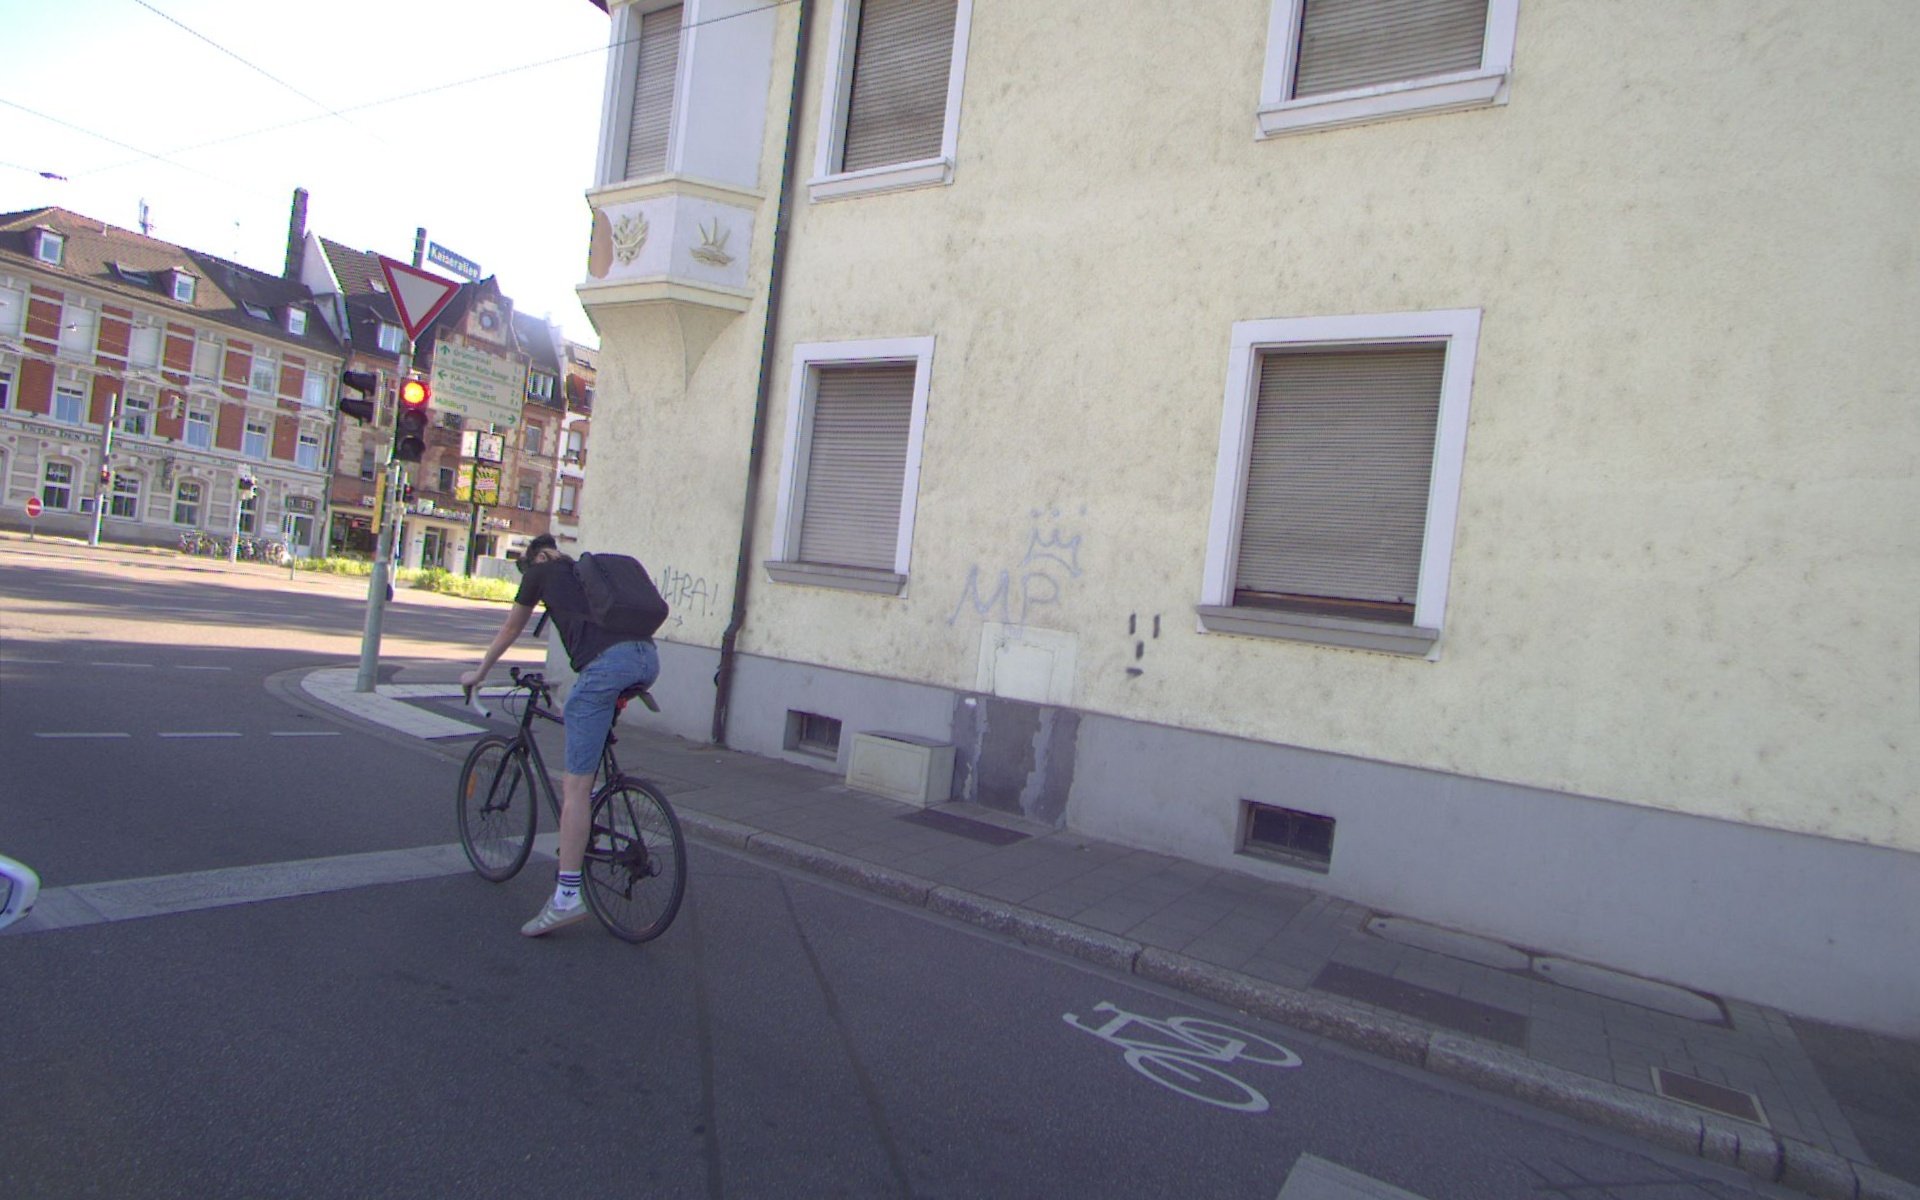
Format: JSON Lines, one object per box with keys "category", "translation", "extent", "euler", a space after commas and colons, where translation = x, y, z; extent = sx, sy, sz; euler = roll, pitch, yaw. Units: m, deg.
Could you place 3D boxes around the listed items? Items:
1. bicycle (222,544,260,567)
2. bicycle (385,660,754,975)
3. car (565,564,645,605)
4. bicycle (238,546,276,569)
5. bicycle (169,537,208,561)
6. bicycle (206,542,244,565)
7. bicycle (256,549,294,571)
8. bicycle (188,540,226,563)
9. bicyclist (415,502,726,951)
{"category": "bicycle", "translation": [-33.844, -2.089, 47.357], "extent": [2.125, 0.850, 0.659], "euler": [6, -2, 33]}
{"category": "bicycle", "translation": [-1.792, 0.876, 4.499], "extent": [1.721, 0.982, 0.519], "euler": [7, 0, 32]}
{"category": "car", "translation": [-23.010, -0.999, 65.318], "extent": [1.968, 2.038, 4.430], "euler": [7, -1, 34]}
{"category": "bicycle", "translation": [-33.489, -2.021, 47.887], "extent": [2.125, 0.850, 0.659], "euler": [6, -2, 33]}
{"category": "bicycle", "translation": [-34.868, -2.299, 45.472], "extent": [2.125, 0.850, 0.659], "euler": [6, -2, 33]}
{"category": "bicycle", "translation": [-34.179, -2.157, 46.760], "extent": [2.125, 0.850, 0.659], "euler": [6, -2, 33]}
{"category": "bicycle", "translation": [-33.101, -1.942, 48.592], "extent": [2.125, 0.850, 0.659], "euler": [6, -2, 33]}
{"category": "bicycle", "translation": [-34.552, -2.231, 46.139], "extent": [2.125, 0.850, 0.659], "euler": [6, -2, 33]}
{"category": "bicyclist", "translation": [-1.744, 0.492, 4.479], "extent": [1.098, 1.722, 0.573], "euler": [7, 0, 32]}
